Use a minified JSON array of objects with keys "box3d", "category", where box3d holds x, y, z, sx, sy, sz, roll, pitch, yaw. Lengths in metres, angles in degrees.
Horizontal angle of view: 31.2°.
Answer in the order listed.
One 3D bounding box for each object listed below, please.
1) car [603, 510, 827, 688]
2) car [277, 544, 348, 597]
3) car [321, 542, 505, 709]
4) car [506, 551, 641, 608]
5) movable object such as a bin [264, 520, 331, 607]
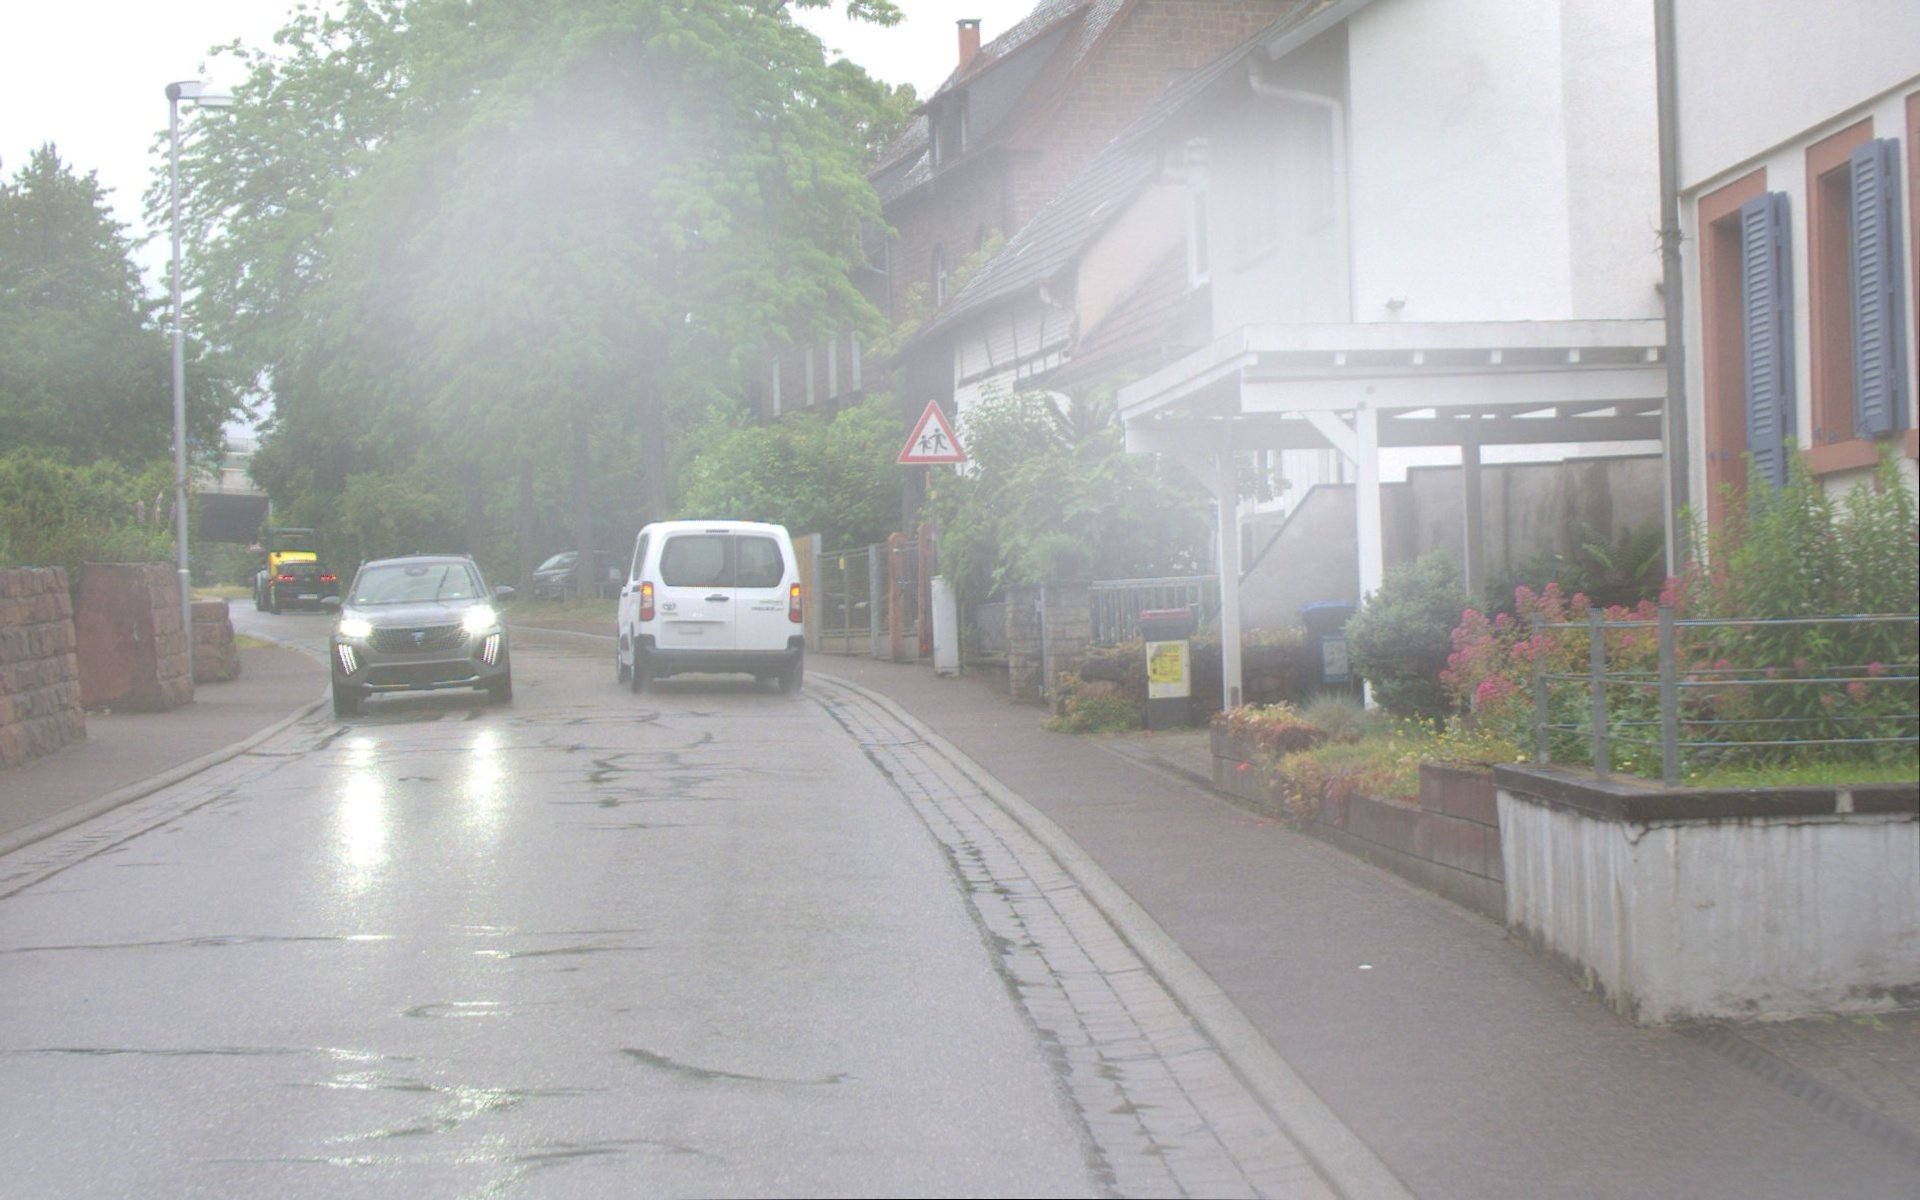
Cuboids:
[{"box3d":[-2.697,-0.049,37.058,1.896,1.801,4.001,-1,1,-11],"category":"car"},{"box3d":[-17.497,-0.778,92.836,1.708,1.373,4.001,1,0,-13],"category":"car"},{"box3d":[-5.576,0.216,35.341,1.699,1.541,3.852,-3,1,-8],"category":"car"},{"box3d":[-10.699,-0.560,95.291,1.620,1.546,3.605,-1,0,38],"category":"car"},{"box3d":[-19.986,-1.070,103.646,1.760,2.539,4.240,1,0,-13],"category":"movable object such as a bin"}]
